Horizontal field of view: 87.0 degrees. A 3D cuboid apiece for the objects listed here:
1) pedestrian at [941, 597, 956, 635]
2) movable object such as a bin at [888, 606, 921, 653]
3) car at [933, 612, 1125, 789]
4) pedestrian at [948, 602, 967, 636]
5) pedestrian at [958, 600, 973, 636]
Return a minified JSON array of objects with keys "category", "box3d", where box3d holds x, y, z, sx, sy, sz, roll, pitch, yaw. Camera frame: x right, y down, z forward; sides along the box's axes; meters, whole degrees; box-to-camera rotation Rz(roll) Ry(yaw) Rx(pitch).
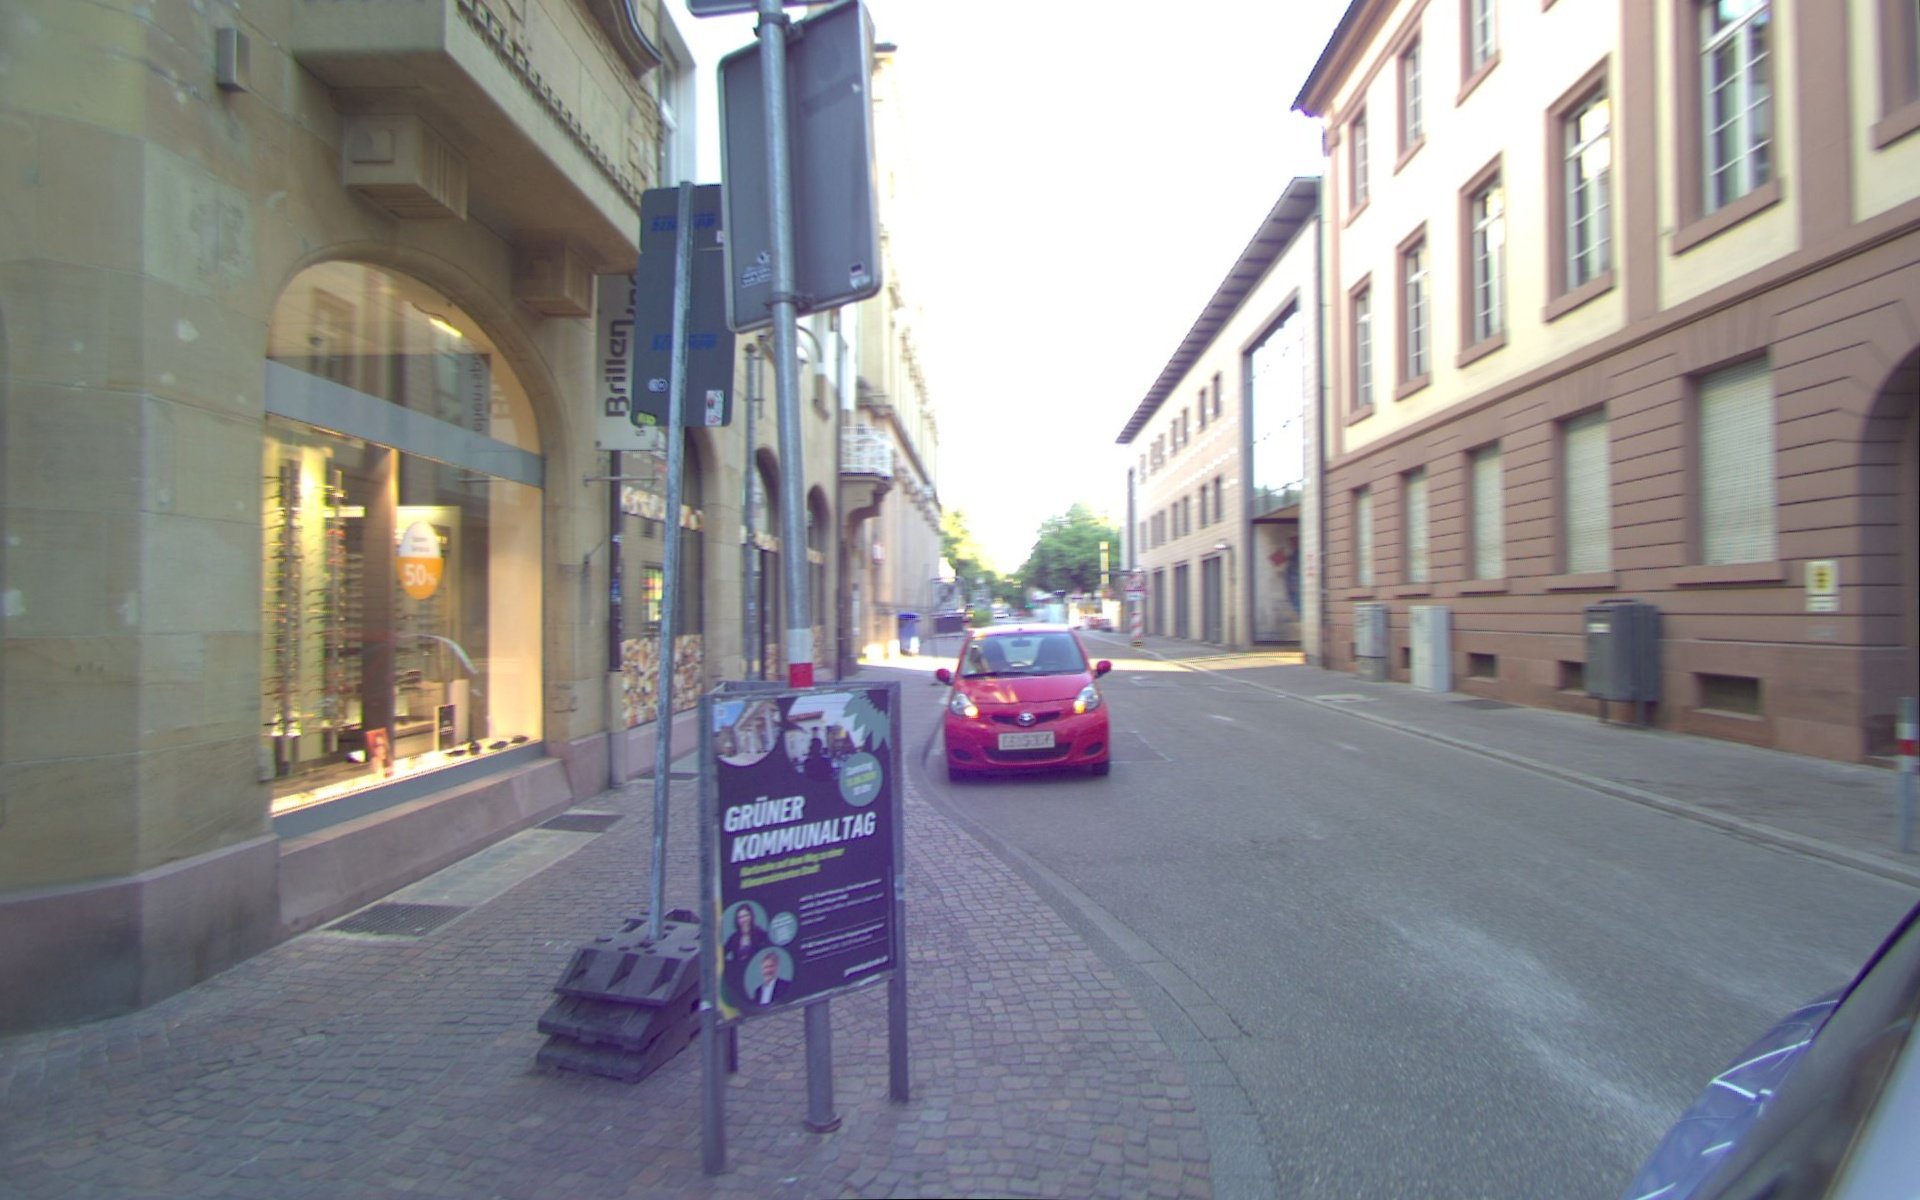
[{"category":"pedestrian","box3d":[-0.552,0.770,48.622,0.637,1.801,0.758,3,-1,0]},{"category":"movable object such as a bin","box3d":[-1.734,0.916,31.669,0.882,1.392,1.137,3,-1,1]},{"category":"car","box3d":[0.689,0.893,10.546,1.590,1.443,3.593,-3,-1,3]},{"category":"pedestrian","box3d":[-0.139,0.913,50.096,0.840,1.619,0.924,3,-1,0]},{"category":"pedestrian","box3d":[0.258,0.845,48.533,0.637,1.674,0.758,3,-1,0]}]
